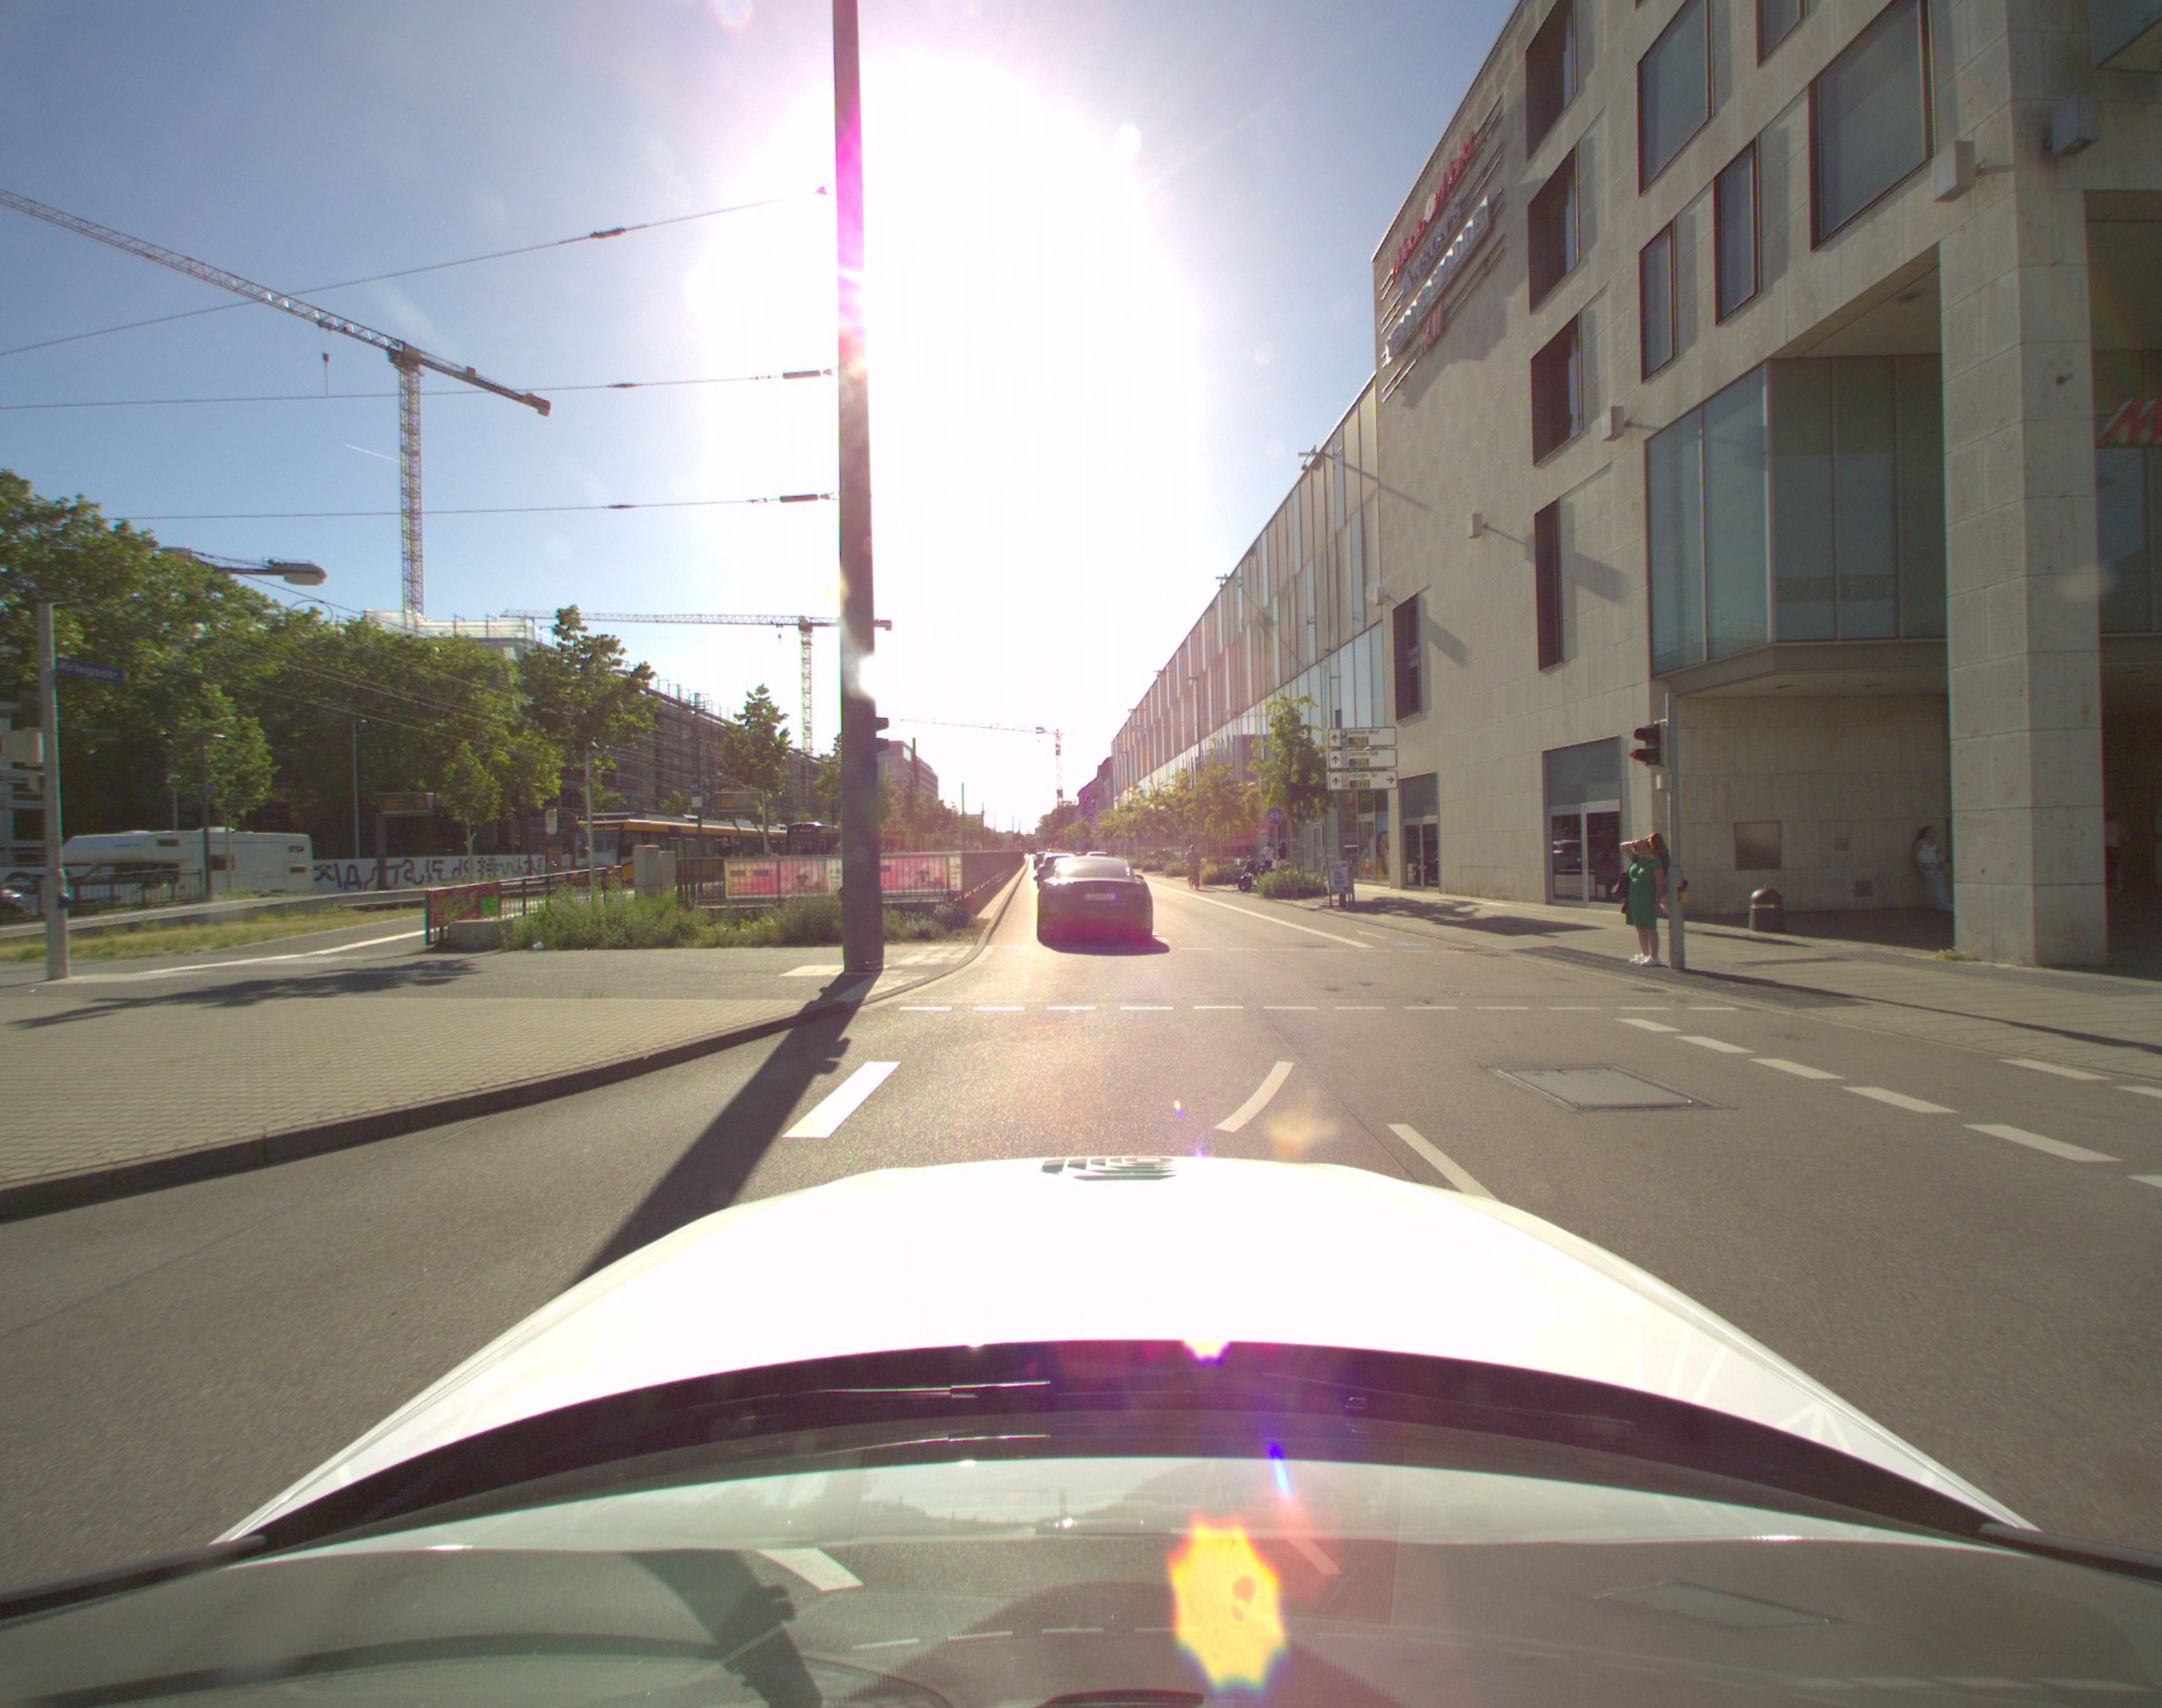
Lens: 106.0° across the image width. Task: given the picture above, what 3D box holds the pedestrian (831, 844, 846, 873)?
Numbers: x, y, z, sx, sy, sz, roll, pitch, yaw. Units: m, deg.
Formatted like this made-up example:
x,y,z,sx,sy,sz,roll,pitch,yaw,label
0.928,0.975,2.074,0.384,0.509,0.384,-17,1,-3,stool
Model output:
x,y,z,sx,sy,sz,roll,pitch,yaw,label
-15.323,0.296,51.489,0.670,1.811,1.073,-2,0,-4,pedestrian

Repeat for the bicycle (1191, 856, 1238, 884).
x,y,z,sx,sy,sz,roll,pitch,yaw,label
6.377,0.746,38.957,2.077,1.205,0.951,-3,0,3,bicycle

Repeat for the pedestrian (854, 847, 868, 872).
x,y,z,sx,sy,sz,roll,pitch,yaw,label
-15.302,0.387,56.609,0.739,1.694,0.861,-1,0,-2,pedestrian

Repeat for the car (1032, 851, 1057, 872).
x,y,z,sx,sy,sz,roll,pitch,yaw,label
-2.972,0.596,67.685,1.882,1.596,3.999,-1,1,0,car

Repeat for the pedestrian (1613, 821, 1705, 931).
x,y,z,sx,sy,sz,roll,pitch,yaw,label
9.994,0.368,14.111,0.726,1.801,1.065,-3,0,-3,pedestrian

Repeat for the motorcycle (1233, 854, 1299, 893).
x,y,z,sx,sy,sz,roll,pitch,yaw,label
6.823,0.702,30.114,2.181,1.324,0.903,-2,0,1,motorcycle

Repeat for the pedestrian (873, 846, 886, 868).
x,y,z,sx,sy,sz,roll,pitch,yaw,label
-15.320,0.244,61.918,0.739,1.628,0.861,-1,0,-2,pedestrian

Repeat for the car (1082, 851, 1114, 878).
x,y,z,sx,sy,sz,roll,pitch,yaw,label
1.034,0.634,51.616,1.780,1.546,4.036,-1,1,-2,car

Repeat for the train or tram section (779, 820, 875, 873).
x,y,z,sx,sy,sz,roll,pitch,yaw,label
-17.794,-0.476,58.428,2.864,3.279,15.167,1,0,-3,train or tram section

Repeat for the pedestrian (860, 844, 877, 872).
x,y,z,sx,sy,sz,roll,pitch,yaw,label
-14.176,0.281,54.378,0.885,1.851,1.006,-1,0,-3,pedestrian

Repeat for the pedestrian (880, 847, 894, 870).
x,y,z,sx,sy,sz,roll,pitch,yaw,label
-13.607,0.316,57.213,0.739,1.628,0.861,-1,0,-2,pedestrian

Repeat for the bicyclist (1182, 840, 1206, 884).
x,y,z,sx,sy,sz,roll,pitch,yaw,label
4.589,0.323,33.101,0.724,1.737,0.995,-1,0,-7,bicyclist

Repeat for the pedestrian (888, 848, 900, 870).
x,y,z,sx,sy,sz,roll,pitch,yaw,label
-14.448,0.389,62.926,0.739,1.628,0.946,-1,0,-2,pedestrian

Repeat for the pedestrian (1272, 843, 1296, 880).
x,y,z,sx,sy,sz,roll,pitch,yaw,label
9.359,0.348,37.575,0.706,1.658,0.898,-3,0,-7,pedestrian

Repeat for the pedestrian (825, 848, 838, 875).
x,y,z,sx,sy,sz,roll,pitch,yaw,label
-14.267,0.442,46.573,0.646,1.512,0.587,0,1,-6,pedestrian

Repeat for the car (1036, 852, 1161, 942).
x,y,z,sx,sy,sz,roll,pitch,yaw,label
0.251,0.722,15.247,1.993,1.434,4.410,0,-1,-1,car

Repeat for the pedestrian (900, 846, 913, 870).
x,y,z,sx,sy,sz,roll,pitch,yaw,label
-12.486,0.283,58.381,0.739,1.628,0.861,-1,0,-2,pedestrian

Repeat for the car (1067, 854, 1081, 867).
x,y,z,sx,sy,sz,roll,pitch,yaw,label
-0.920,0.813,109.287,1.882,1.596,3.999,-1,1,0,car

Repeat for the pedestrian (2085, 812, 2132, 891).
x,y,z,sx,sy,sz,roll,pitch,yaw,label
23.490,-0.069,18.628,0.559,1.762,0.643,-2,1,-39,pedestrian

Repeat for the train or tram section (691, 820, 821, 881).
x,y,z,sx,sy,sz,roll,pitch,yaw,label
-20.530,-0.222,53.114,2.841,3.321,15.948,1,0,-3,train or tram section

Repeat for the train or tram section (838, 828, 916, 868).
x,y,z,sx,sy,sz,roll,pitch,yaw,label
-18.756,-0.528,77.029,2.864,3.279,22.118,1,0,-3,train or tram section

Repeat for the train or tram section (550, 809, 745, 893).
x,y,z,sx,sy,sz,roll,pitch,yaw,label
-19.833,-0.138,38.742,2.864,3.309,13.058,1,0,-3,train or tram section

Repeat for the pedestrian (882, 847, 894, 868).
x,y,z,sx,sy,sz,roll,pitch,yaw,label
-15.187,0.274,63.998,0.739,1.628,0.861,-1,0,-2,pedestrian

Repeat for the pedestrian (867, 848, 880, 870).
x,y,z,sx,sy,sz,roll,pitch,yaw,label
-15.278,0.348,59.943,0.739,1.628,0.861,-1,0,-2,pedestrian

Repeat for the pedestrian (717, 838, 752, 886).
x,y,z,sx,sy,sz,roll,pitch,yaw,label
-13.099,0.278,30.814,0.873,1.775,1.187,0,1,-6,pedestrian

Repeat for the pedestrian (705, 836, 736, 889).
x,y,z,sx,sy,sz,roll,pitch,yaw,label
-12.264,0.264,27.752,0.702,1.775,0.957,0,1,-6,pedestrian

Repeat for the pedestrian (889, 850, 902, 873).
x,y,z,sx,sy,sz,roll,pitch,yaw,label
-13.261,0.544,58.307,0.739,1.628,0.861,-1,0,-2,pedestrian

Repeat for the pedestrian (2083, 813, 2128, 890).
x,y,z,sx,sy,sz,roll,pitch,yaw,label
24.011,-0.062,19.095,0.559,1.762,0.643,-2,1,-39,pedestrian

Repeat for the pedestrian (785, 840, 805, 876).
x,y,z,sx,sy,sz,roll,pitch,yaw,label
-14.551,0.202,41.461,0.760,1.775,0.825,0,1,-6,pedestrian

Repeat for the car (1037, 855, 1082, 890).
x,y,z,sx,sy,sz,roll,pitch,yaw,label
-0.910,0.718,33.739,1.712,1.319,3.997,-1,1,-2,car

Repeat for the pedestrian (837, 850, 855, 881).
x,y,z,sx,sy,sz,roll,pitch,yaw,label
-12.562,0.600,43.526,0.739,1.628,0.861,-1,0,-2,pedestrian

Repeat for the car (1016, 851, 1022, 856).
x,y,z,sx,sy,sz,roll,pitch,yaw,label
-19.284,-0.131,252.466,1.990,1.684,3.994,0,0,-4,car

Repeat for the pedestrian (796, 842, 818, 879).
x,y,z,sx,sy,sz,roll,pitch,yaw,label
-13.373,0.299,39.777,0.790,1.775,0.977,0,1,-6,pedestrian

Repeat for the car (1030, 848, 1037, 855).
x,y,z,sx,sy,sz,roll,pitch,yaw,label
-12.153,-0.618,208.944,1.809,1.809,4.036,-1,1,-2,car

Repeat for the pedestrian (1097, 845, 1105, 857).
x,y,z,sx,sy,sz,roll,pitch,yaw,label
3.232,-0.475,131.528,1.093,1.863,1.520,-1,0,-5,pedestrian

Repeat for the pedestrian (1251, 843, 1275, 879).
x,y,z,sx,sy,sz,roll,pitch,yaw,label
8.434,0.317,37.706,0.820,1.658,0.898,-1,0,-7,pedestrian

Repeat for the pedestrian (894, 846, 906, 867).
x,y,z,sx,sy,sz,roll,pitch,yaw,label
-14.772,0.193,66.546,0.739,1.628,0.861,-1,0,-2,pedestrian

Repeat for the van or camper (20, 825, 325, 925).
x,y,z,sx,sy,sz,roll,pitch,yaw,label
-30.720,0.596,28.179,2.600,2.937,7.331,-1,0,-4,van or camper

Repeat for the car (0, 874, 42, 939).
x,y,z,sx,sy,sz,roll,pitch,yaw,label
-29.753,1.451,20.419,1.942,1.707,4.360,-1,0,-4,car

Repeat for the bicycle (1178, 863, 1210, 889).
x,y,z,sx,sy,sz,roll,pitch,yaw,label
4.589,0.865,33.218,0.728,0.983,2.328,-2,0,-7,bicycle

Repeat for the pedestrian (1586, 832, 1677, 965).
x,y,z,sx,sy,sz,roll,pitch,yaw,label
7.447,0.579,11.044,0.656,1.702,0.697,-4,0,-5,pedestrian

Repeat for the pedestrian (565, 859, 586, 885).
x,y,z,sx,sy,sz,roll,pitch,yaw,label
-24.002,0.849,38.648,0.670,1.226,0.505,0,-1,-6,pedestrian

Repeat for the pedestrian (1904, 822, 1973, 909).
x,y,z,sx,sy,sz,roll,pitch,yaw,label
16.327,0.204,15.511,0.746,1.607,0.556,-2,1,-4,pedestrian
